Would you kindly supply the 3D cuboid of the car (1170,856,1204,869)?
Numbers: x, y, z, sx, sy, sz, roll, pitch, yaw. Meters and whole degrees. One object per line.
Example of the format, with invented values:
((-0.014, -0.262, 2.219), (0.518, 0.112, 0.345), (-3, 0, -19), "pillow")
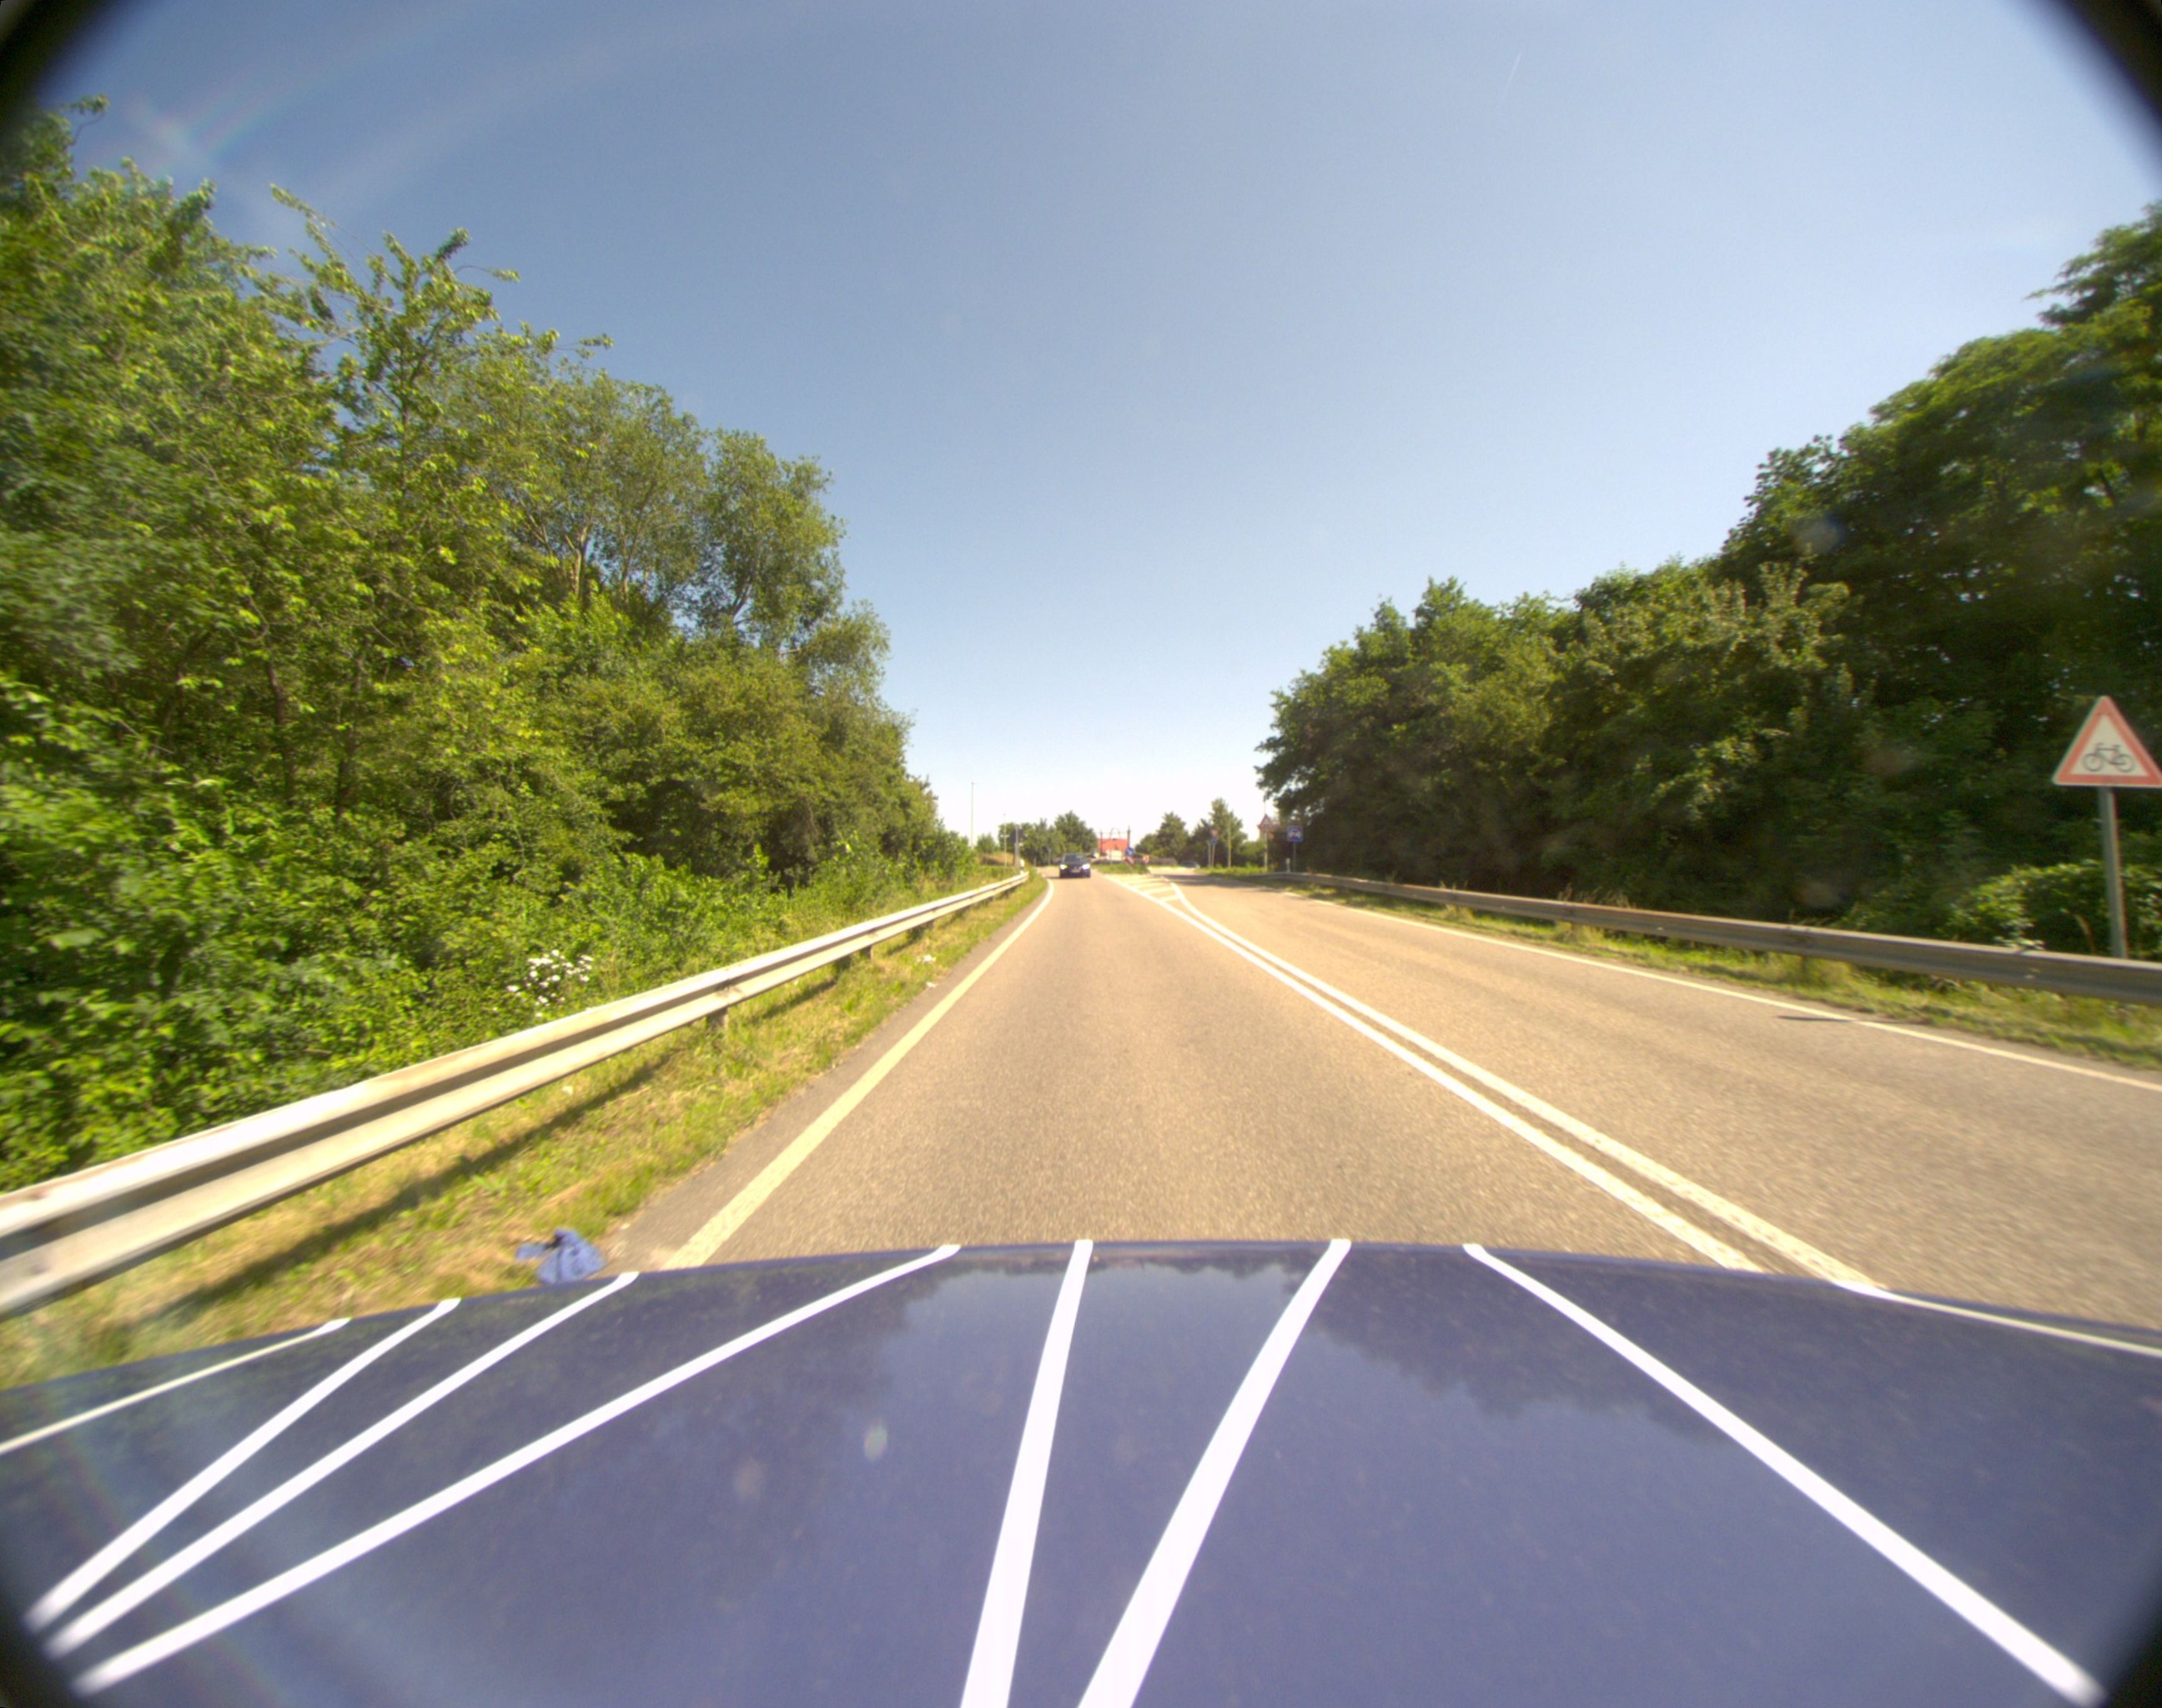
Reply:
((13.535, 1.059, 97.178), (3.988, 1.567, 1.653), (0, -1, 42), "car")

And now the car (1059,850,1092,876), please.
((-0.260, 0.499, 44.625), (1.806, 1.390, 4.180), (0, 0, 1), "car")
